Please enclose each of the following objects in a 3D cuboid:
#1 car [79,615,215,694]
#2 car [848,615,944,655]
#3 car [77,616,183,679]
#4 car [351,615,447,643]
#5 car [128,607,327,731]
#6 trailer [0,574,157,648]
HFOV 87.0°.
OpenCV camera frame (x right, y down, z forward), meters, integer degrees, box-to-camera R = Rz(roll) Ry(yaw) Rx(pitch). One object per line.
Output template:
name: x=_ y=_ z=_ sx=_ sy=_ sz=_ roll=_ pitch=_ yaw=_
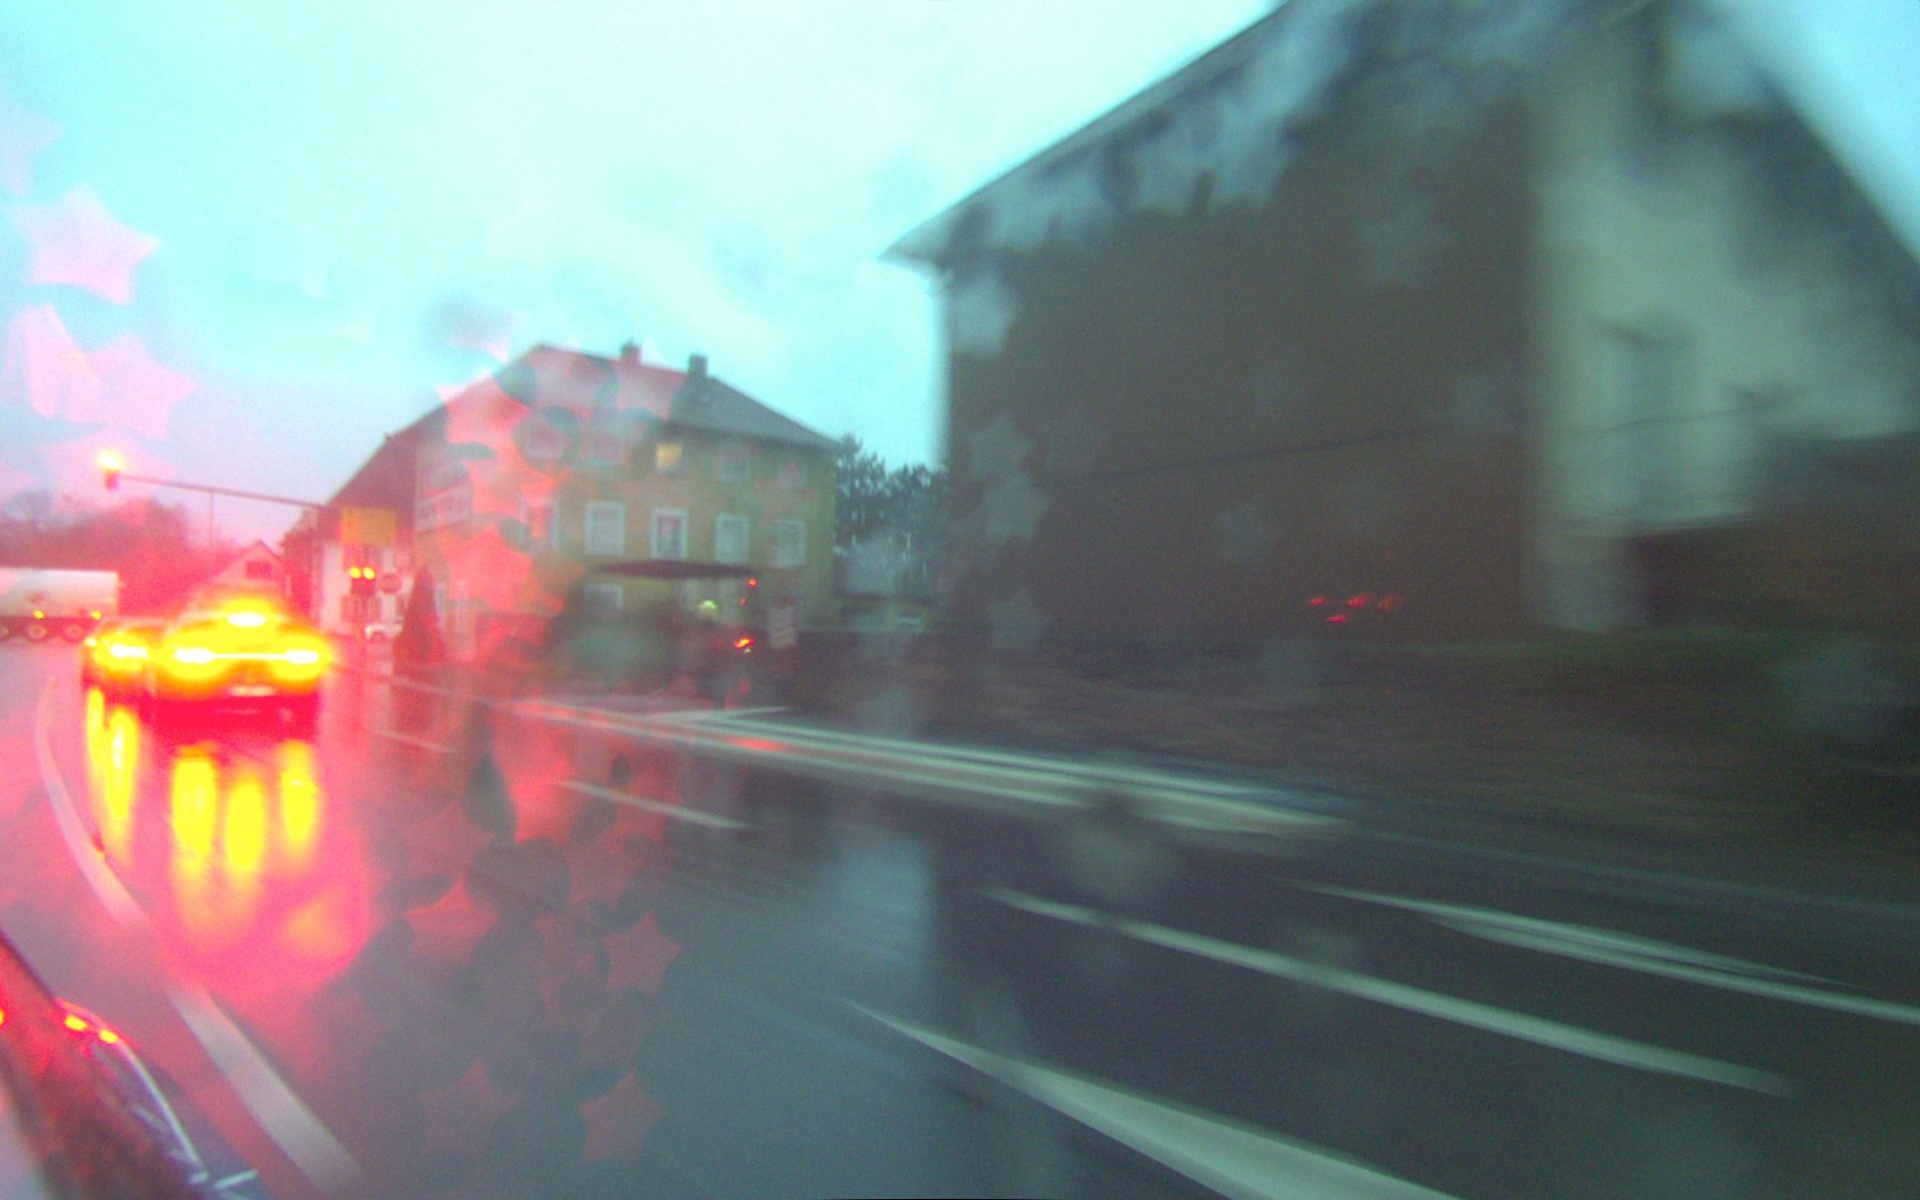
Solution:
car: x=-16.011 y=1.001 z=19.848 sx=1.803 sy=1.383 sz=4.291 roll=3 pitch=-2 yaw=-42
car: x=-3.148 y=1.630 z=48.419 sx=1.968 sy=1.804 sz=5.216 roll=2 pitch=-2 yaw=-38
car: x=-20.532 y=1.134 z=25.046 sx=1.856 sy=1.404 sz=4.531 roll=2 pitch=-2 yaw=-40
car: x=-30.600 y=1.609 z=55.269 sx=4.313 sy=1.450 sz=1.670 roll=2 pitch=-3 yaw=-41
car: x=-11.123 y=0.964 z=15.243 sx=1.853 sy=1.597 sz=4.294 roll=3 pitch=-3 yaw=-43
trailer: x=-43.094 y=0.500 z=45.552 sx=10.699 sy=3.265 sz=2.499 roll=2 pitch=-3 yaw=-41
